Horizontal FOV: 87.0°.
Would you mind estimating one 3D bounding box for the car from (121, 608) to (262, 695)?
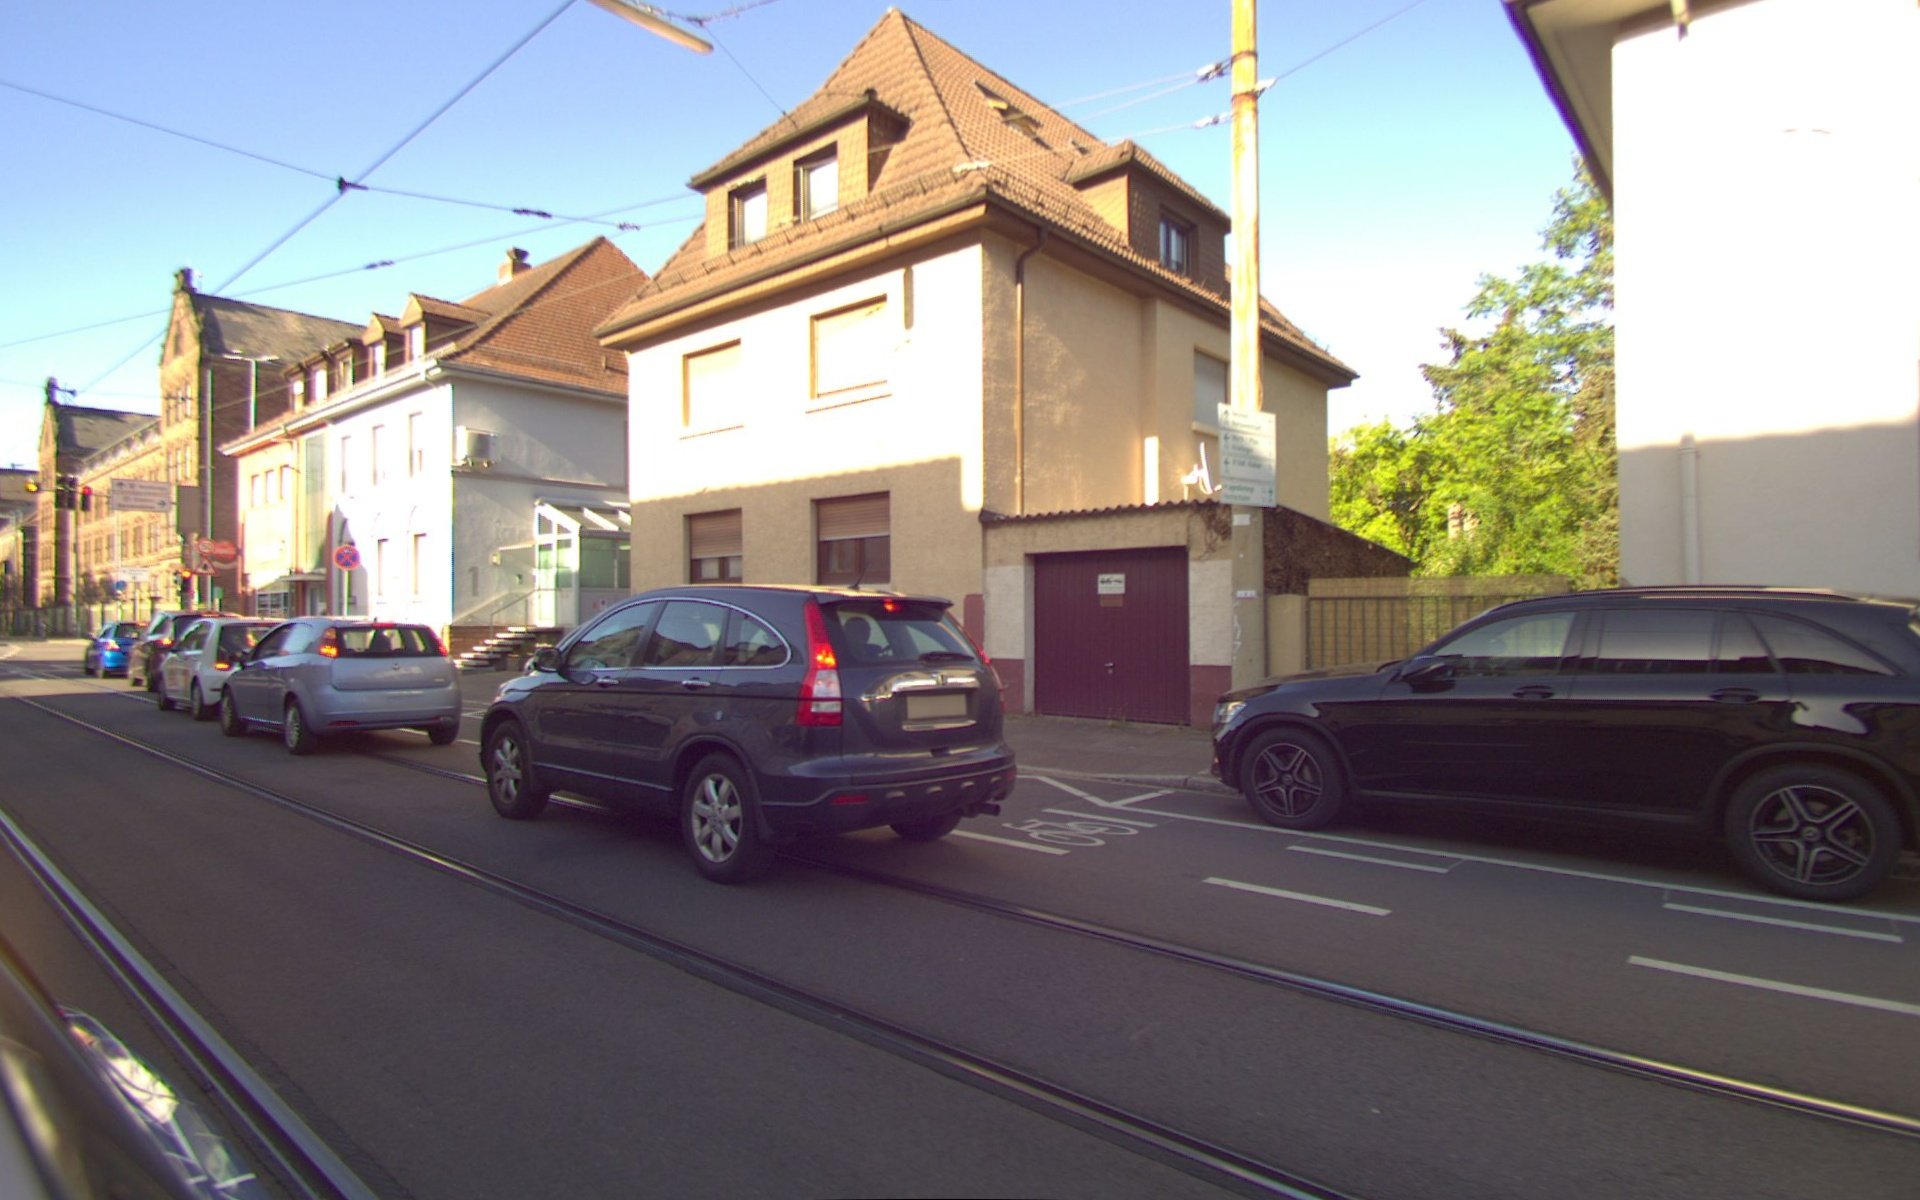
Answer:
[{"bbox_3d":[-16.211,1.021,21.254,1.718,1.623,4.717,3,-3,-45],"label":"car"}]

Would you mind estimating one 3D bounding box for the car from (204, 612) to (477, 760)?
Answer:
[{"bbox_3d":[-7.449,0.904,12.012,4.073,1.472,1.600,-1,-3,41],"label":"car"}]

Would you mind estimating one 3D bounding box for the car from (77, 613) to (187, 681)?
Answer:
[{"bbox_3d":[-21.052,1.172,25.673,3.930,1.579,1.665,-1,-4,44],"label":"car"}]

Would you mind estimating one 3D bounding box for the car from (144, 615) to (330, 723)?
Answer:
[{"bbox_3d":[-11.214,0.987,15.619,3.613,1.472,1.565,-1,-3,42],"label":"car"}]

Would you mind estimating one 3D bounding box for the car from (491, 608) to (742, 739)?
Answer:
[{"bbox_3d":[-5.007,0.970,14.531,3.918,1.640,1.599,-1,-3,40],"label":"car"}]

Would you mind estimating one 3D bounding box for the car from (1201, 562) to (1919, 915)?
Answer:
[{"bbox_3d":[4.059,0.720,6.628,4.552,1.718,1.744,-1,-3,40],"label":"car"}]

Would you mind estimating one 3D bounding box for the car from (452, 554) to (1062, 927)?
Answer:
[{"bbox_3d":[-1.590,0.700,6.766,4.362,1.718,1.686,-1,-3,41],"label":"car"}]
